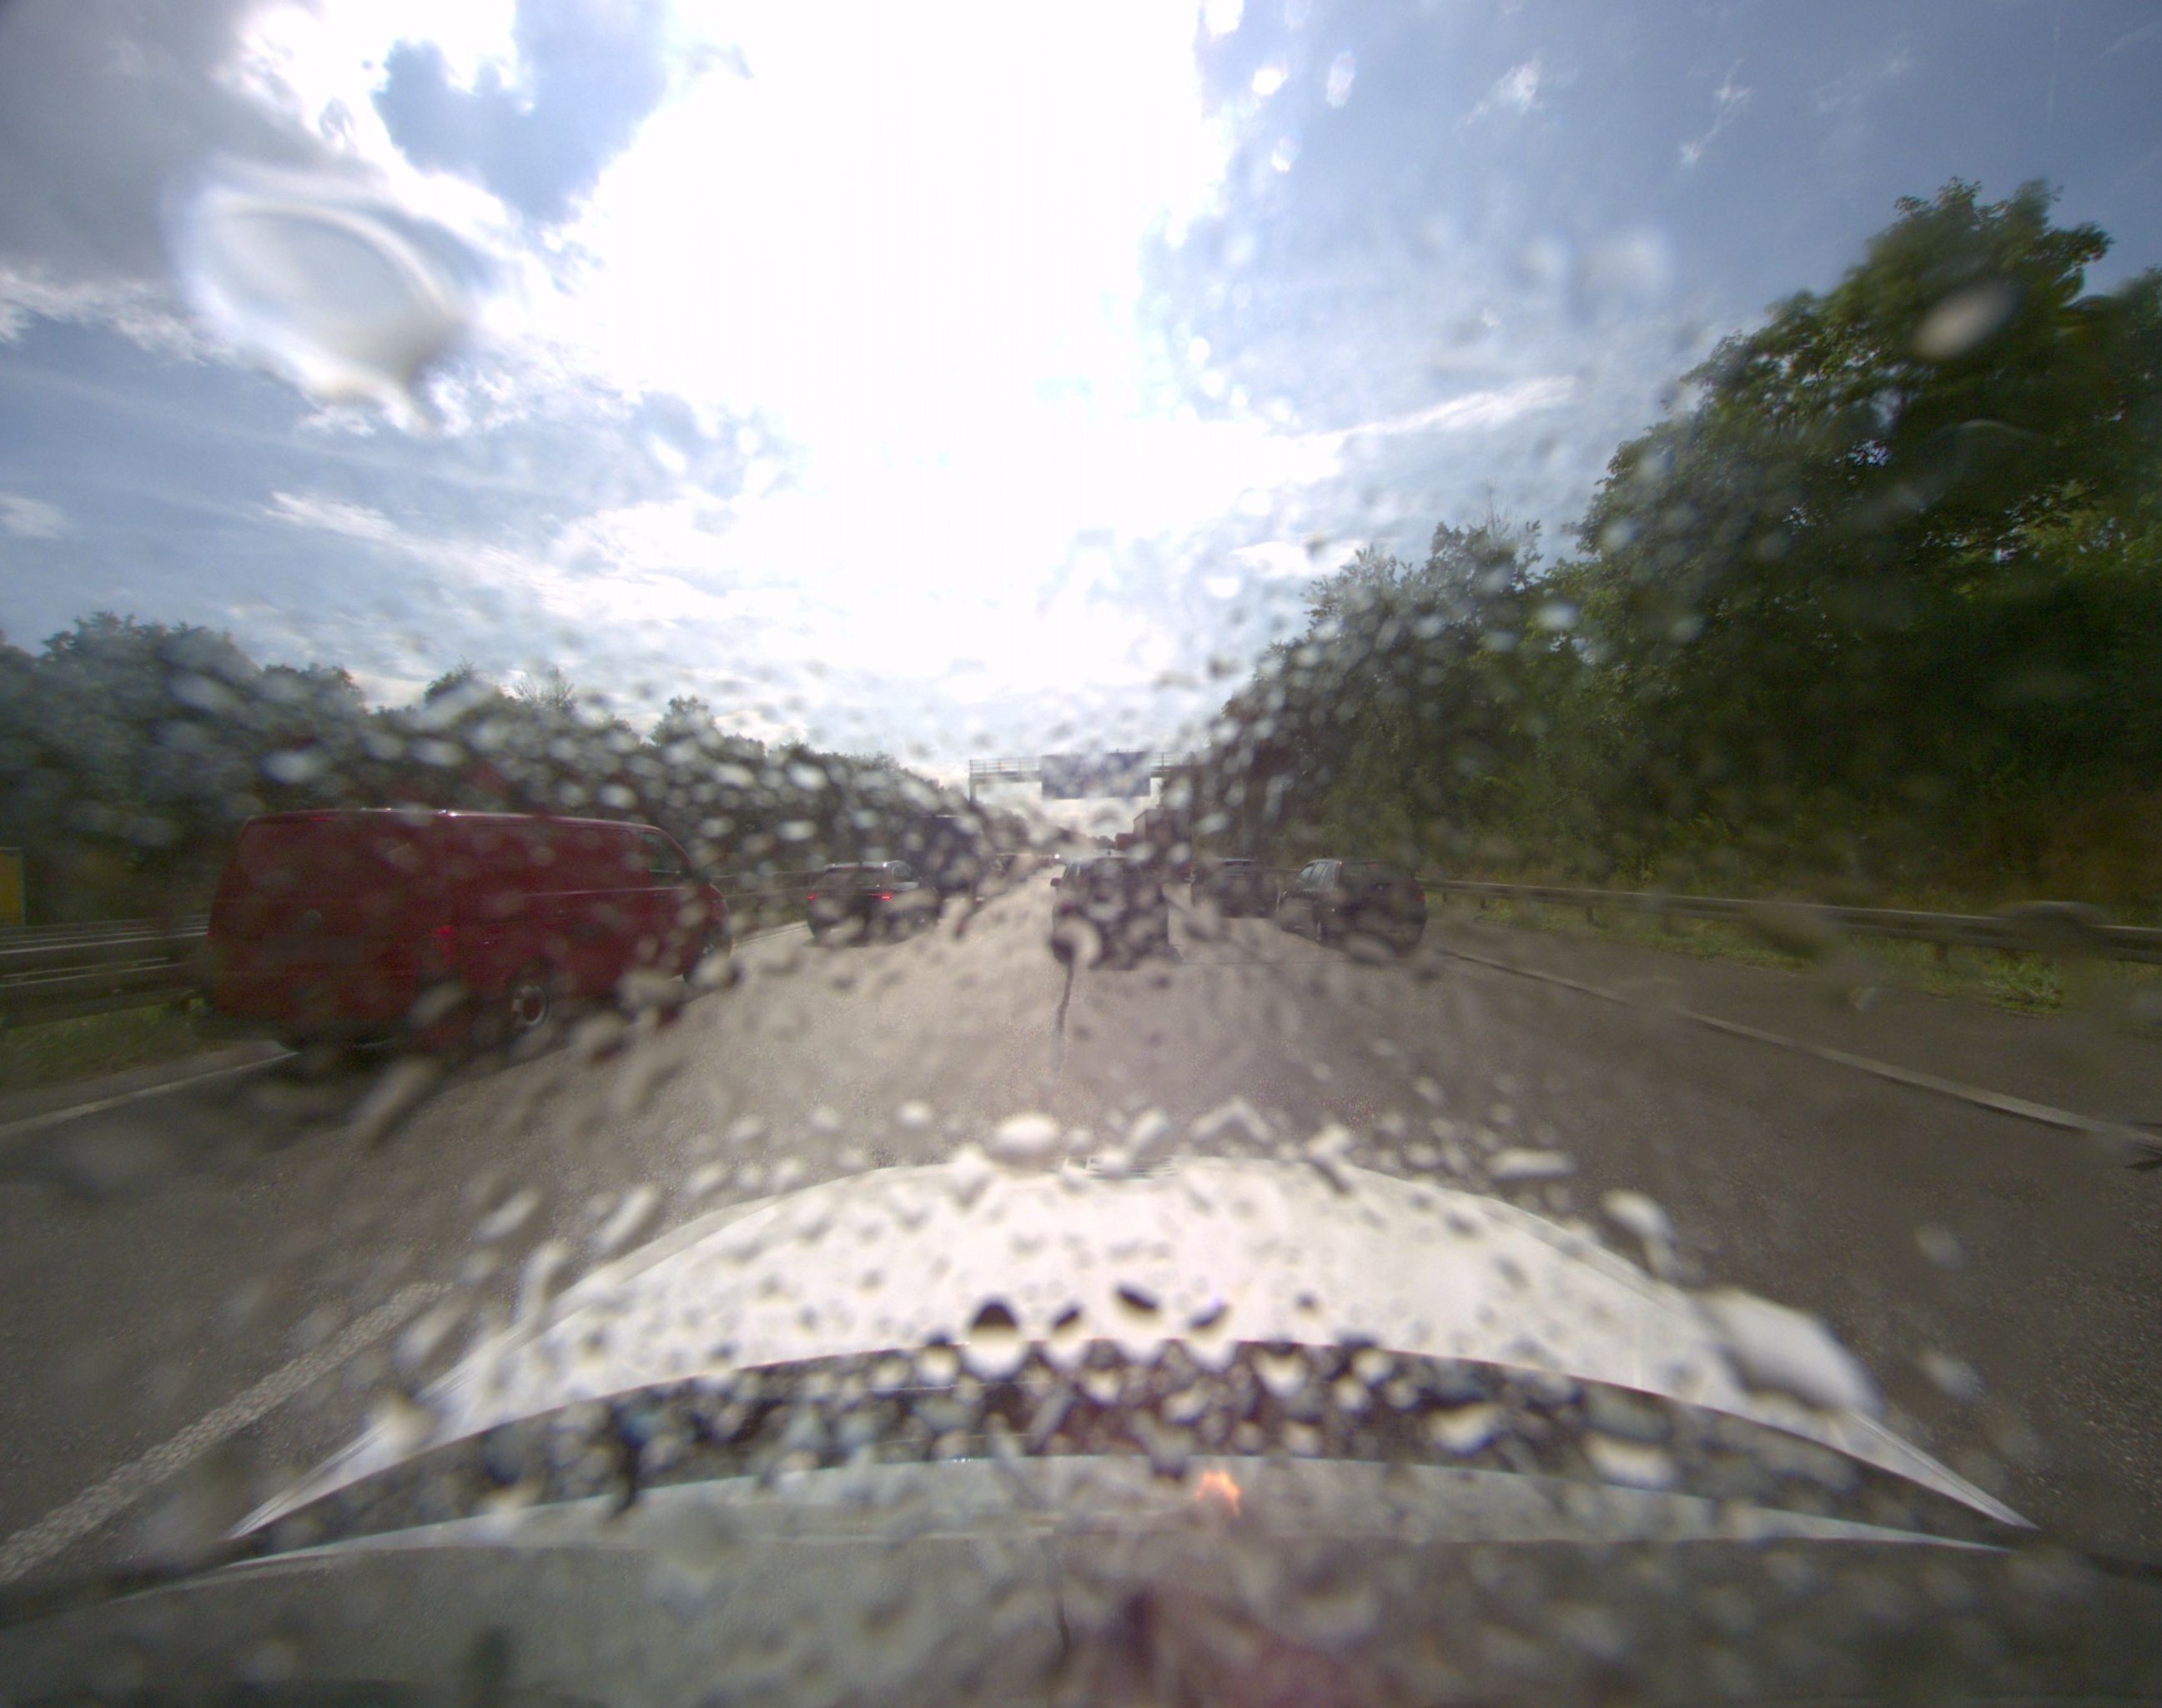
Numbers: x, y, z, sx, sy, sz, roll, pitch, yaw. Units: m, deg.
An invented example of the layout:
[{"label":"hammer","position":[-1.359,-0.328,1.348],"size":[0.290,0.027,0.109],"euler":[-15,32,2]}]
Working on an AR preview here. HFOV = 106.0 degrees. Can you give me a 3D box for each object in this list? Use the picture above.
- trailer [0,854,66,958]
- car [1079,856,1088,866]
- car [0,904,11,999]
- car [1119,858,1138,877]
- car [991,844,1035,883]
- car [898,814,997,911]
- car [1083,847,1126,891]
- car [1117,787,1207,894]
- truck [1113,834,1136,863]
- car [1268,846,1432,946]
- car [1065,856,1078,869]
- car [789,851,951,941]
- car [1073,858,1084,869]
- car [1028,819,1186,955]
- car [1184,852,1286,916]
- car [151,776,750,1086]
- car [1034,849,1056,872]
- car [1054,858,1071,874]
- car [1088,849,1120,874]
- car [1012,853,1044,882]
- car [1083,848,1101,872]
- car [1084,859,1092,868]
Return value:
[{"label":"trailer","position":[-45.703,2.056,28.741],"size":[3.760,4.117,11.770],"euler":[-1,-1,14]},{"label":"car","position":[0.526,1.624,178.598],"size":[1.986,2.115,4.890],"euler":[0,-1,1]},{"label":"car","position":[-21.379,1.827,12.851],"size":[2.044,1.775,5.209],"euler":[0,-1,0]},{"label":"car","position":[5.363,1.481,92.611],"size":[1.986,2.115,4.890],"euler":[0,-1,1]},{"label":"car","position":[-3.885,0.543,47.203],"size":[1.986,2.115,4.890],"euler":[0,-1,1]},{"label":"car","position":[-3.906,0.254,24.712],"size":[1.986,2.615,5.261],"euler":[0,-1,1]},{"label":"car","position":[0.954,0.648,35.475],"size":[1.687,1.805,3.974],"euler":[0,-1,-1]},{"label":"car","position":[4.805,-0.647,52.944],"size":[4.389,5.830,16.818],"euler":[0,-1,1]},{"label":"truck","position":[5.680,-0.706,106.495],"size":[2.765,3.632,5.918],"euler":[0,-1,1]},{"label":"car","position":[4.578,0.663,14.463],"size":[1.586,1.516,3.975],"euler":[0,-1,0]},{"label":"car","position":[-1.556,1.433,132.650],"size":[1.986,2.115,4.890],"euler":[0,-1,1]},{"label":"car","position":[-4.103,0.761,16.743],"size":[1.986,1.565,4.757],"euler":[0,-1,1]},{"label":"car","position":[-0.527,1.887,157.580],"size":[1.986,2.115,4.890],"euler":[0,-1,1]},{"label":"car","position":[0.358,0.498,14.196],"size":[2.267,1.954,4.819],"euler":[0,-1,-1]},{"label":"car","position":[3.935,0.733,21.453],"size":[1.859,1.516,3.973],"euler":[0,-1,-1]},{"label":"car","position":[-5.223,0.539,7.863],"size":[1.971,2.054,4.757],"euler":[-1,-1,1]},{"label":"car","position":[-3.858,0.705,88.453],"size":[1.986,2.385,5.261],"euler":[0,-1,1]},{"label":"car","position":[-2.436,1.548,108.775],"size":[1.986,2.115,4.890],"euler":[0,-1,1]},{"label":"car","position":[1.429,0.503,51.757],"size":[1.859,1.516,3.973],"euler":[0,-1,-1]},{"label":"car","position":[-3.982,1.036,61.963],"size":[1.986,2.115,4.890],"euler":[0,-1,1]},{"label":"car","position":[1.326,0.725,95.221],"size":[1.986,2.746,5.261],"euler":[0,-1,1]},{"label":"car","position":[1.705,2.298,198.199],"size":[1.986,2.115,4.890],"euler":[0,-1,1]}]
